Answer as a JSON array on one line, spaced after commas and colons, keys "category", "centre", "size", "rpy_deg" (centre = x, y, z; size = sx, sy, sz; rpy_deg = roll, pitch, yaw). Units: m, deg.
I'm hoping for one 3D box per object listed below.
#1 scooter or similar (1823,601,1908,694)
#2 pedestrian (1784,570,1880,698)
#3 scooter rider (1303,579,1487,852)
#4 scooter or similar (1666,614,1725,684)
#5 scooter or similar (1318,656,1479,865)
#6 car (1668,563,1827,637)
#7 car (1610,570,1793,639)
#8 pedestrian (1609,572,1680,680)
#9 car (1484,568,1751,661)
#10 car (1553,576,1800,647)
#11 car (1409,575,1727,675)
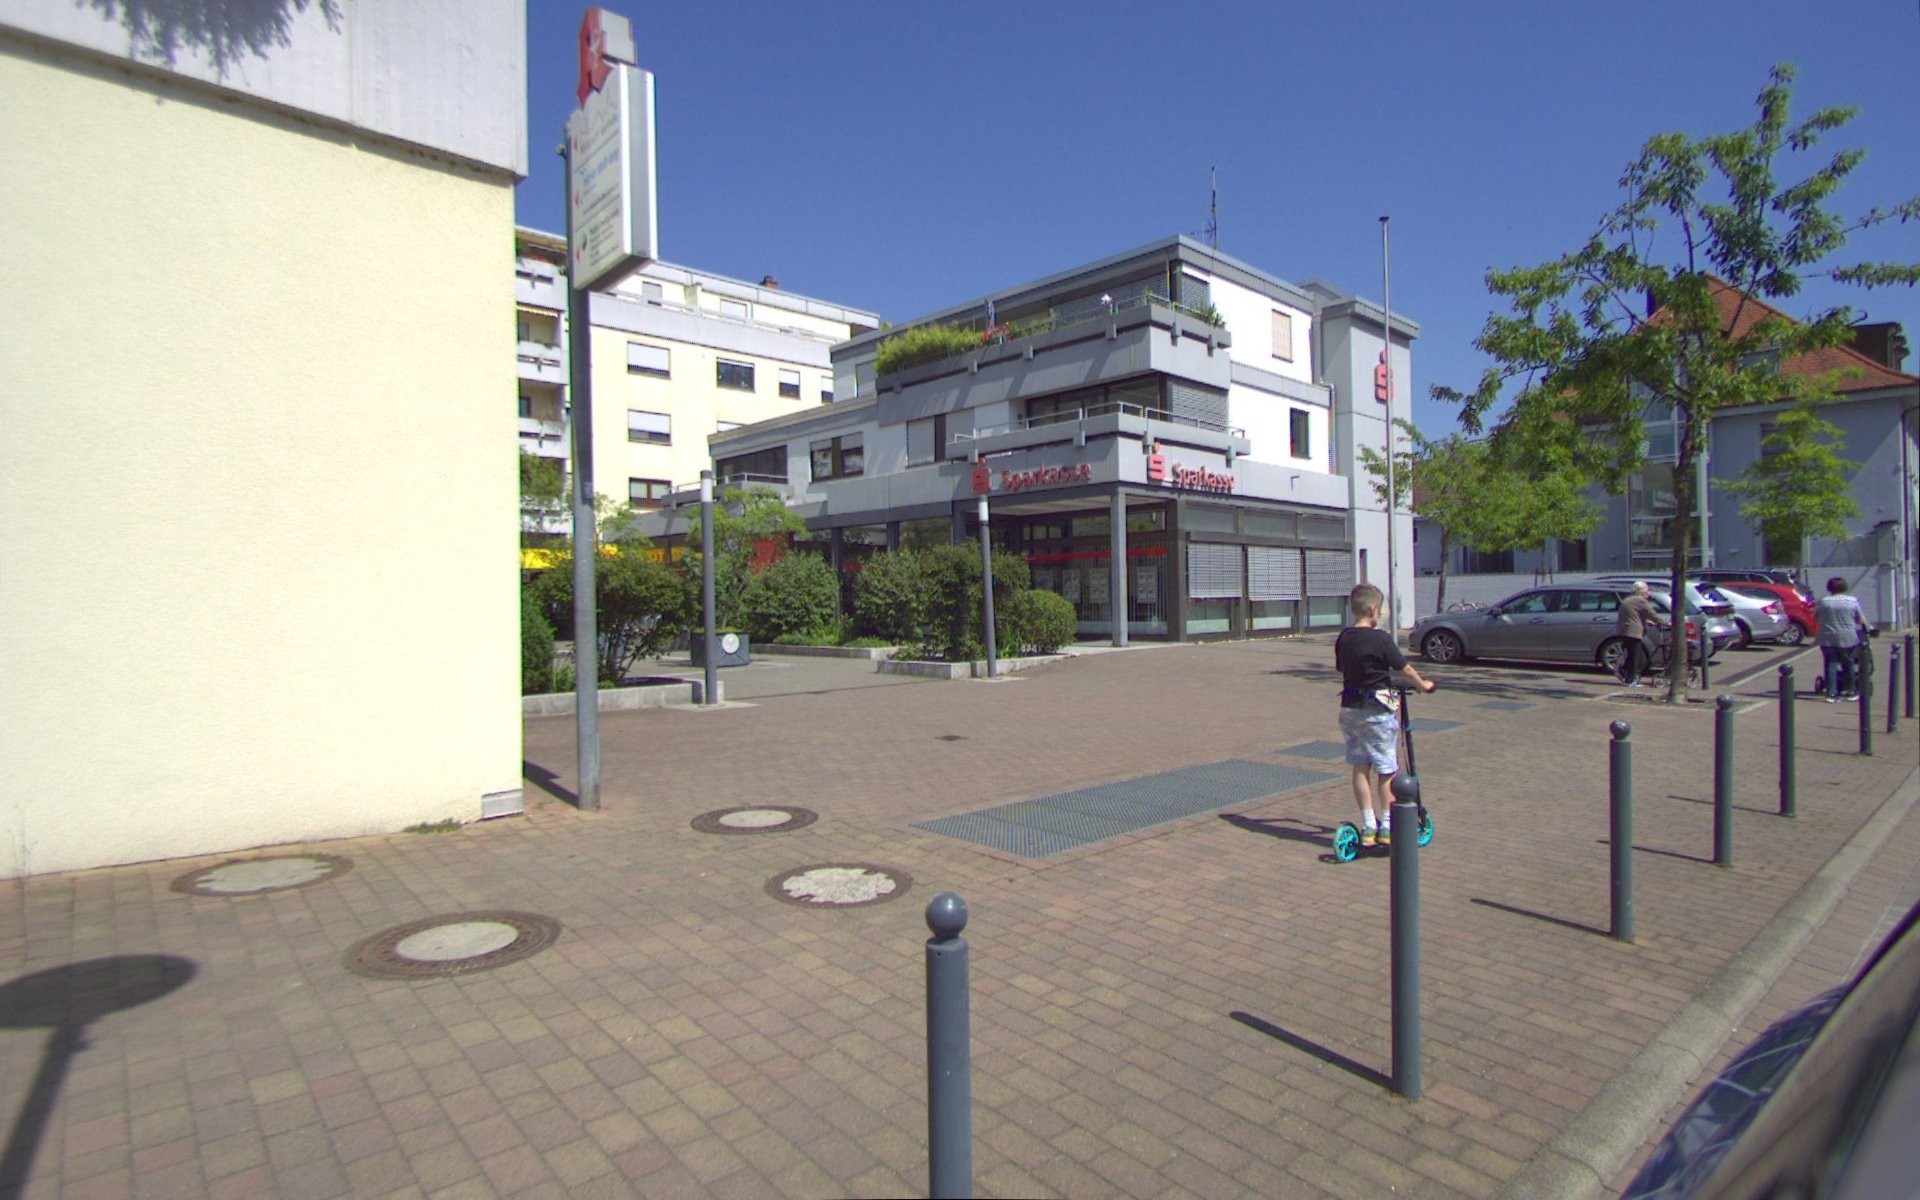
[{"category": "scooter or similar", "centre": [11.585, 0.593, 12.948], "size": [0.890, 1.132, 0.507], "rpy_deg": [0, 1, -25]}, {"category": "pedestrian", "centre": [10.855, 0.398, 12.600], "size": [1.026, 1.535, 0.514], "rpy_deg": [0, 1, -24]}, {"category": "scooter rider", "centre": [2.390, 0.562, 5.527], "size": [1.113, 1.341, 0.462], "rpy_deg": [-1, 0, -40]}, {"category": "scooter or similar", "centre": [10.382, 0.679, 14.300], "size": [0.540, 0.957, 0.532], "rpy_deg": [-1, 0, 21]}, {"category": "scooter or similar", "centre": [2.398, 0.827, 5.509], "size": [0.943, 0.977, 0.411], "rpy_deg": [-1, 0, -39]}, {"category": "car", "centre": [19.850, -0.038, 25.565], "size": [3.033, 1.759, 1.324], "rpy_deg": [1, 1, 44]}, {"category": "car", "centre": [17.935, 0.091, 24.570], "size": [1.466, 1.571, 3.422], "rpy_deg": [-1, 1, -45]}, {"category": "pedestrian", "centre": [9.799, 0.361, 14.514], "size": [0.715, 1.520, 0.528], "rpy_deg": [-1, 0, 20]}, {"category": "car", "centre": [12.395, 0.202, 19.226], "size": [4.034, 1.579, 1.686], "rpy_deg": [1, 2, 43]}, {"category": "car", "centre": [16.096, 0.190, 22.887], "size": [4.429, 1.460, 1.631], "rpy_deg": [1, 2, 42]}, {"category": "car", "centre": [10.282, 0.328, 17.361], "size": [4.433, 1.483, 1.664], "rpy_deg": [1, 2, 44]}]
